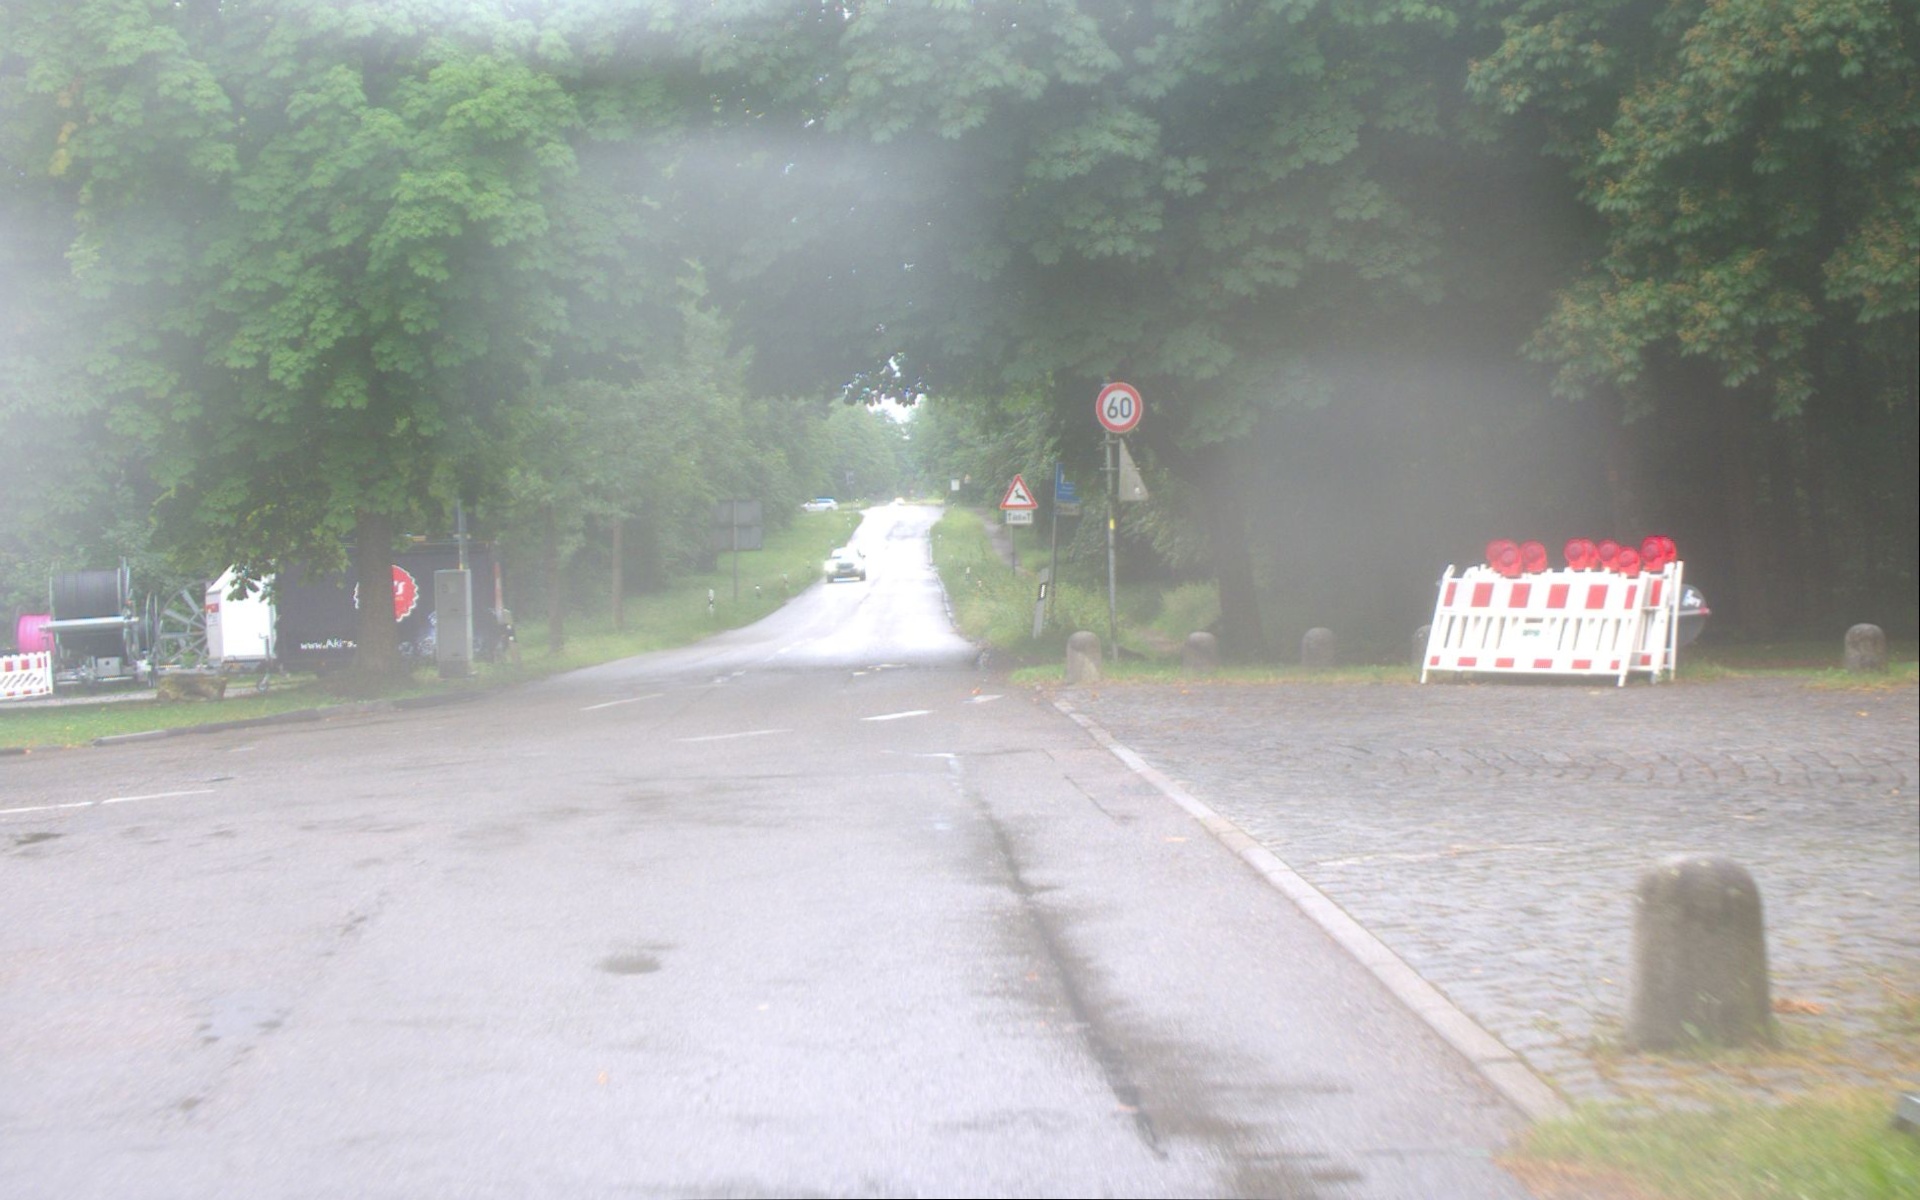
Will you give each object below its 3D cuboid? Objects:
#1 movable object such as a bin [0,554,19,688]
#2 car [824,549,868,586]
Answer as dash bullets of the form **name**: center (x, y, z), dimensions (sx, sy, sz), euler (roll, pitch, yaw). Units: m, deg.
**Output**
- **movable object such as a bin**: center (-26.086, 0.624, 85.910), dimensions (4.580, 3.283, 3.667), euler (-3, 1, -11)
- **car**: center (-5.617, -1.633, 169.999), dimensions (1.993, 1.711, 4.000), euler (-3, 1, -1)
